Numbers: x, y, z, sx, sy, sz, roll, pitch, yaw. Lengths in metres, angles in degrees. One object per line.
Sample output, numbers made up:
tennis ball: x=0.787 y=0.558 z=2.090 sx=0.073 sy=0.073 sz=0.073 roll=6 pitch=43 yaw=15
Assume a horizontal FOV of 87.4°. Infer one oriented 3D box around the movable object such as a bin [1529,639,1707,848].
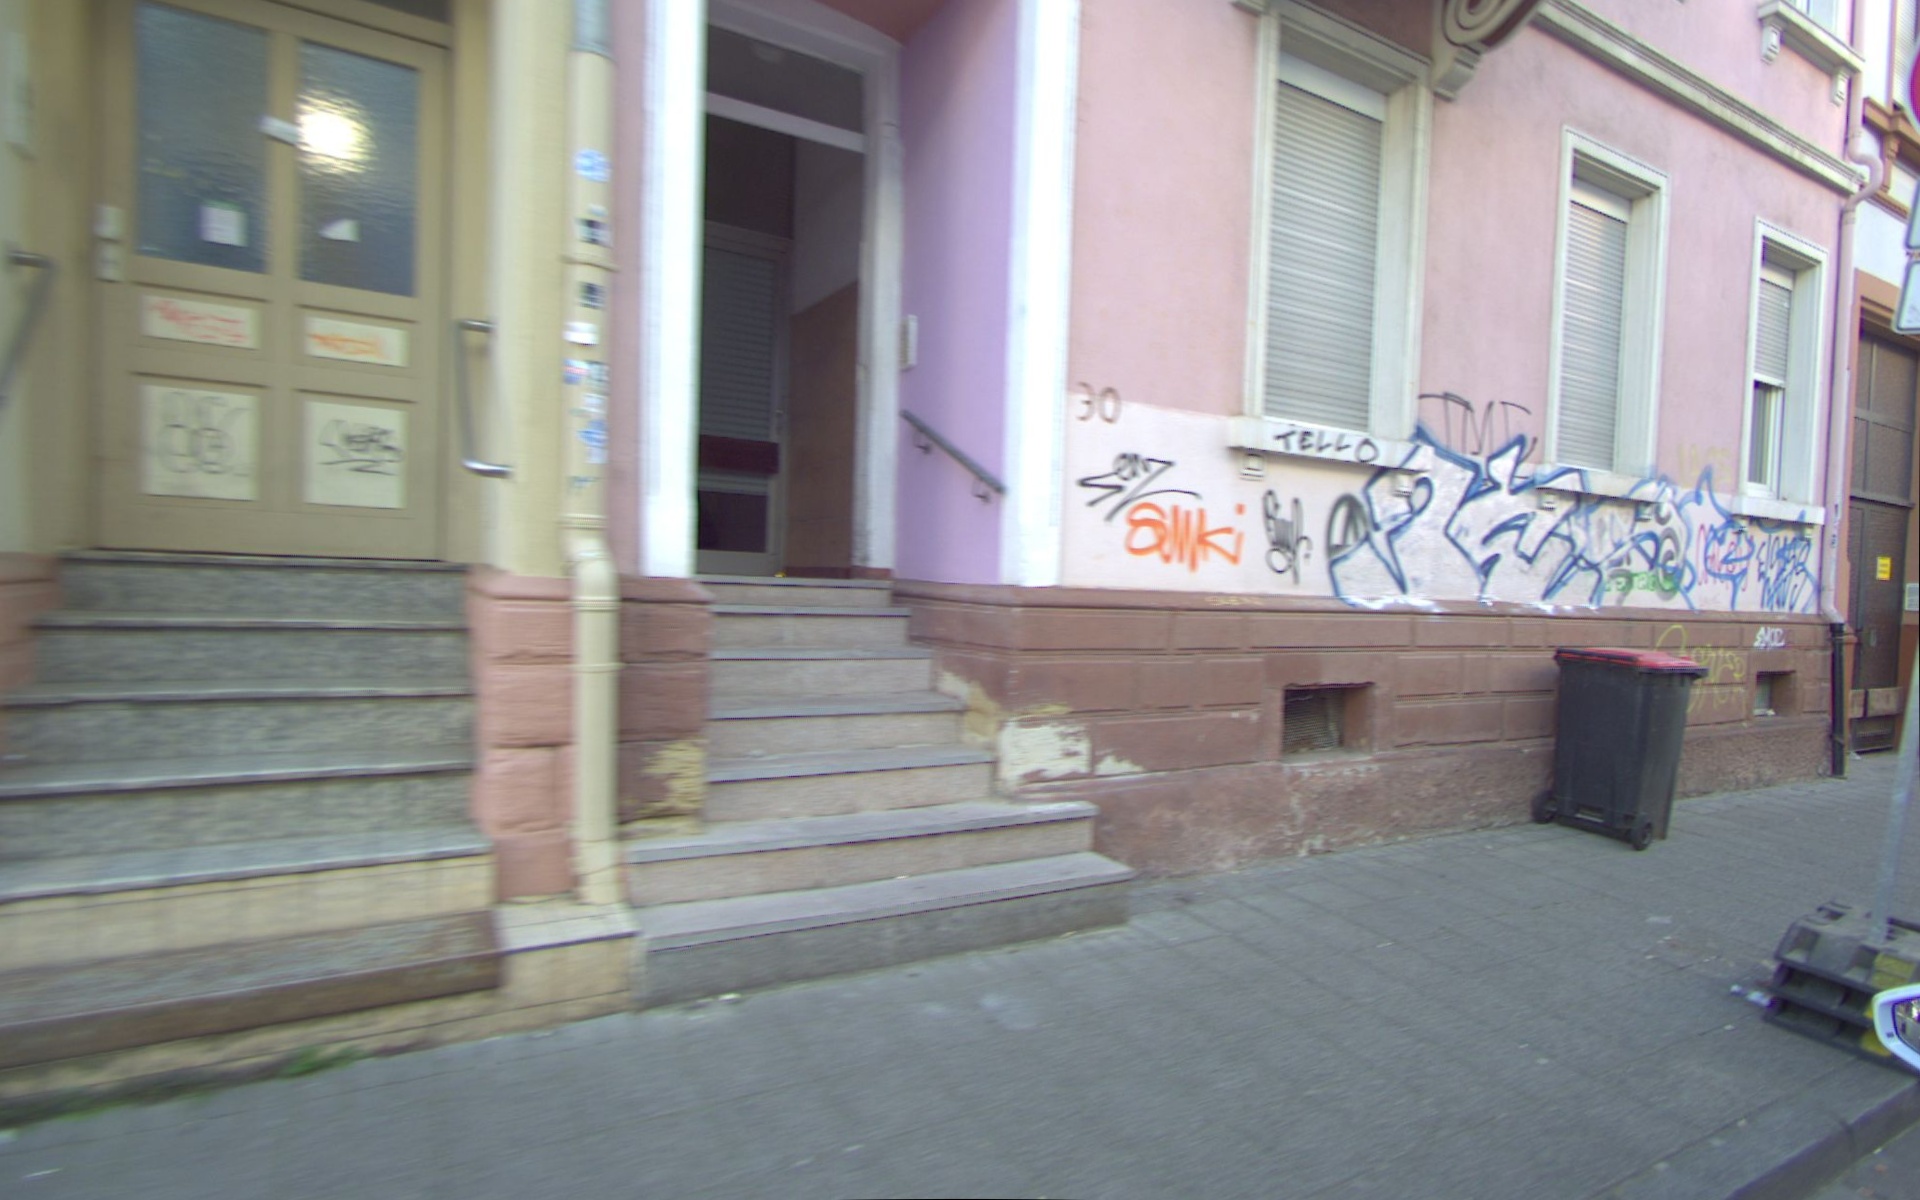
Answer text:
movable object such as a bin: x=3.721 y=0.775 z=5.696 sx=0.590 sy=1.049 sz=0.602 roll=2 pitch=2 yaw=-32
